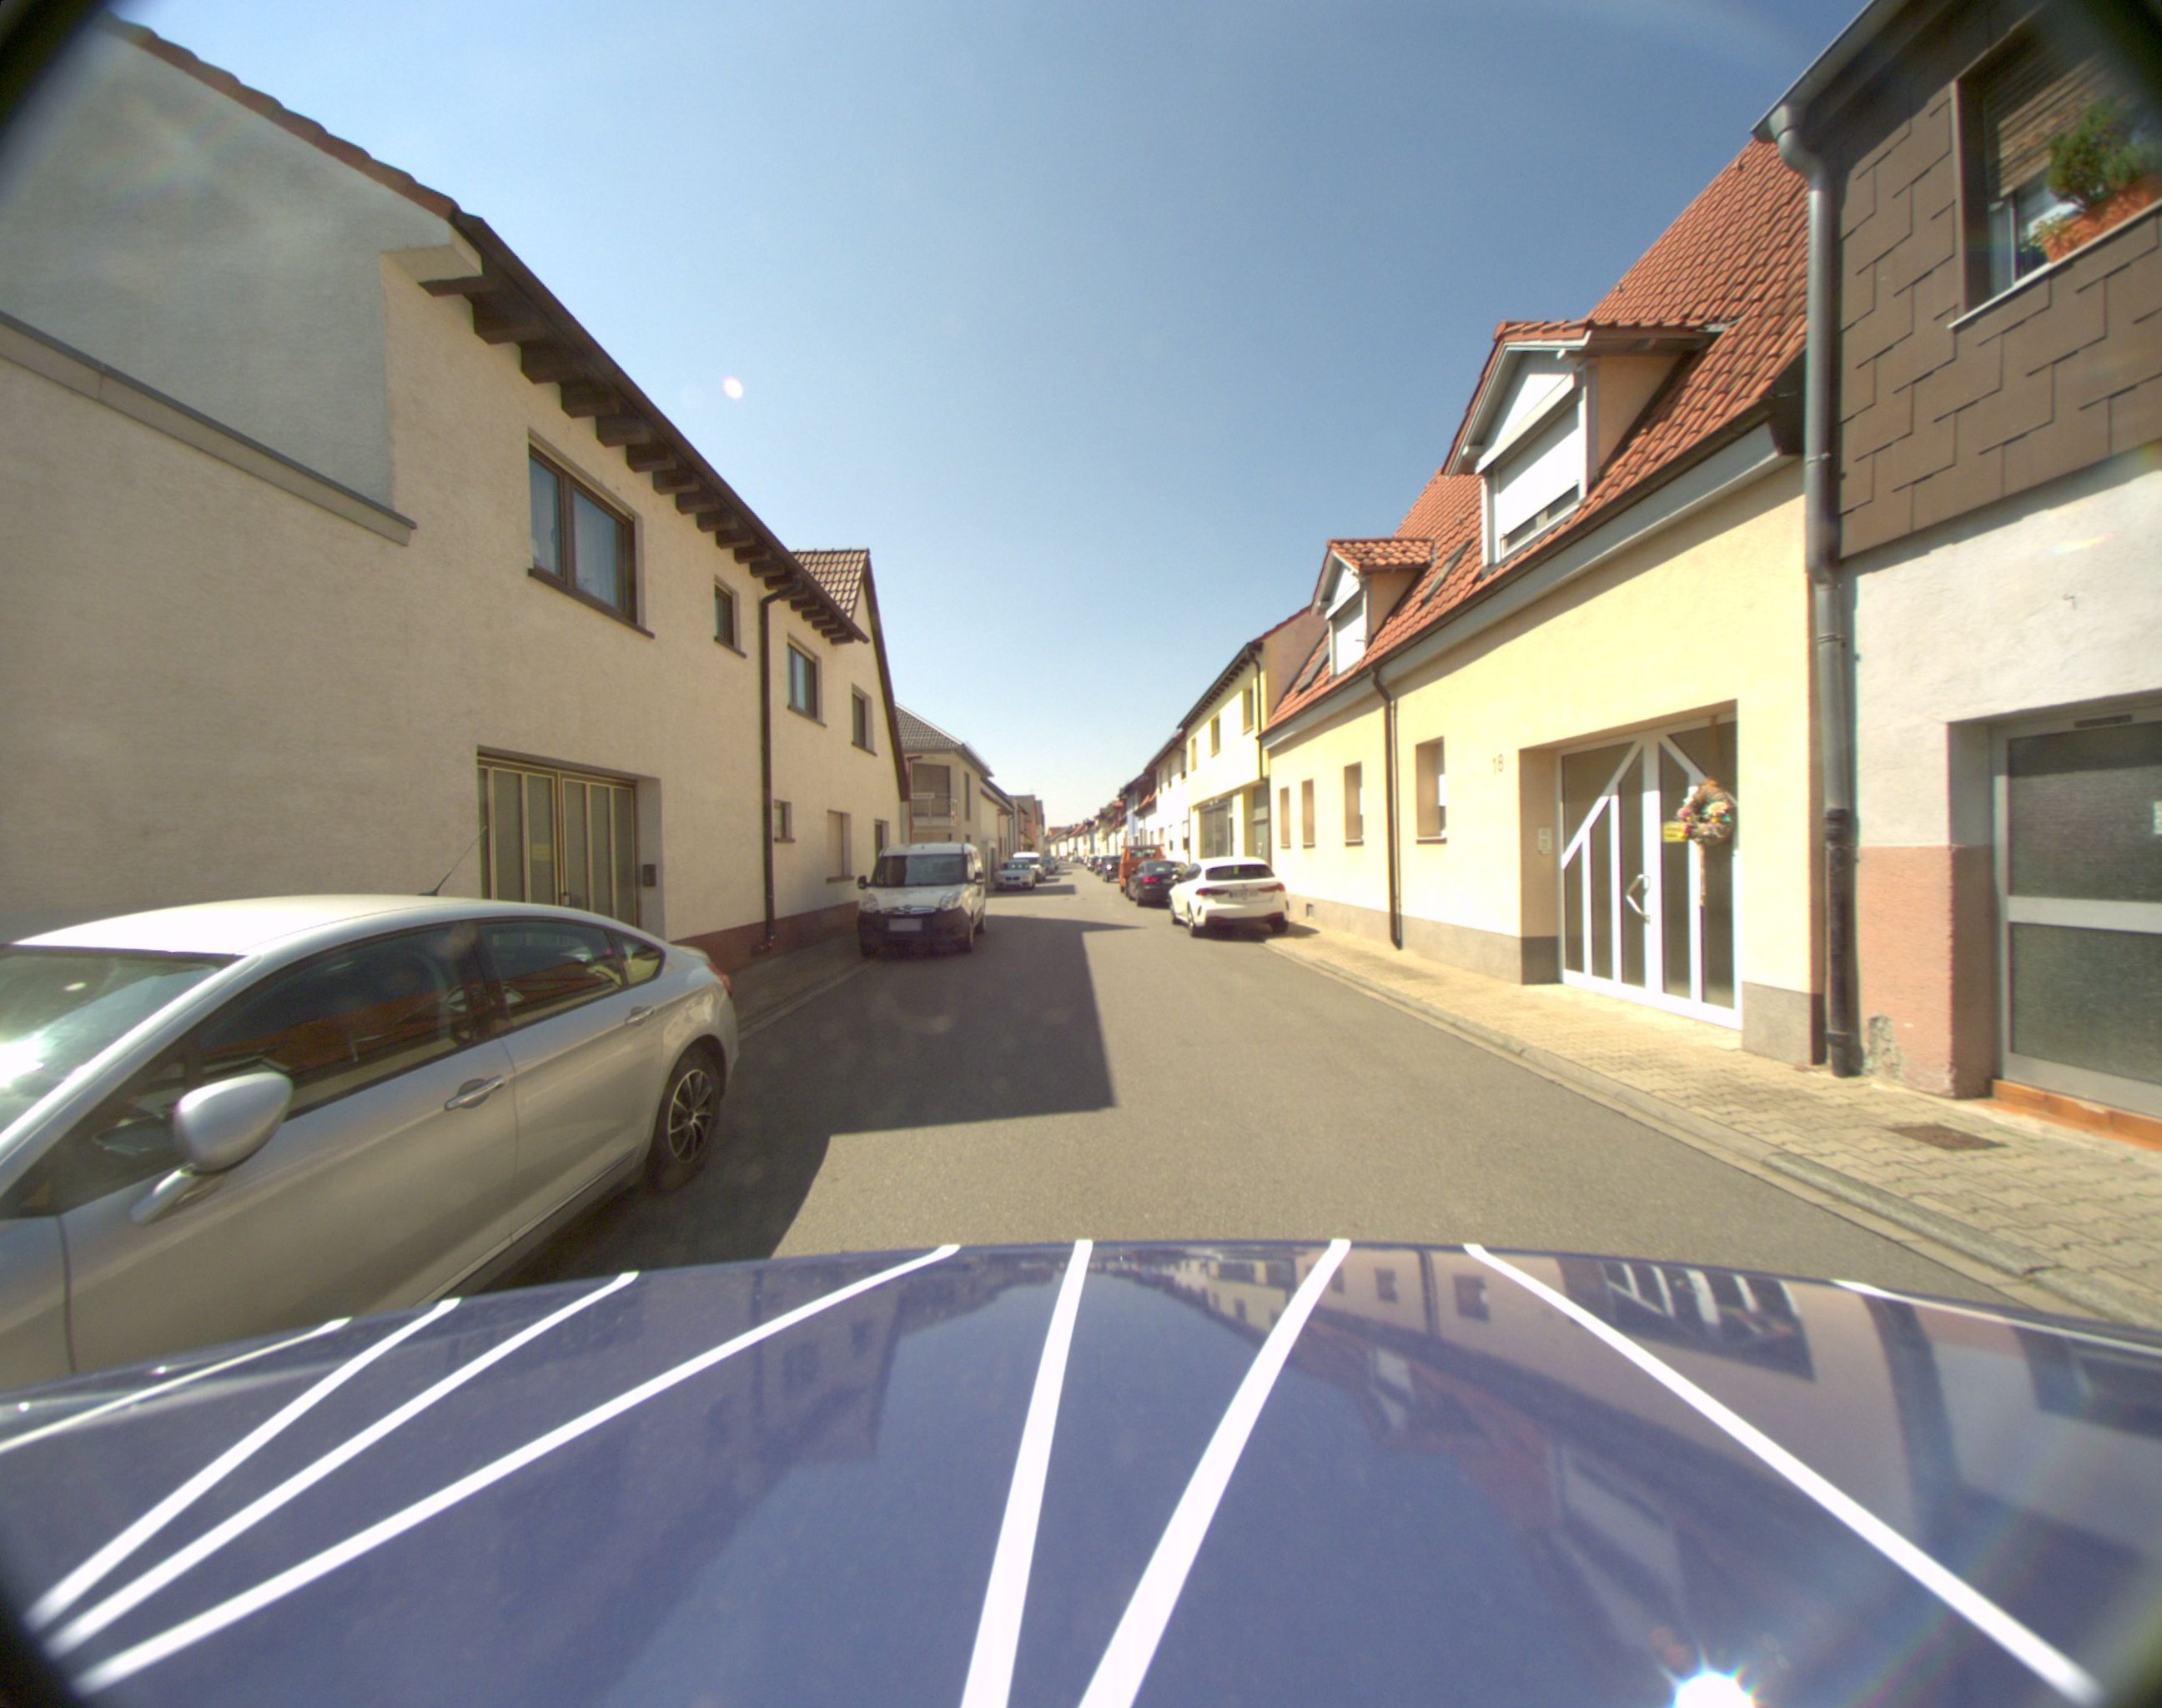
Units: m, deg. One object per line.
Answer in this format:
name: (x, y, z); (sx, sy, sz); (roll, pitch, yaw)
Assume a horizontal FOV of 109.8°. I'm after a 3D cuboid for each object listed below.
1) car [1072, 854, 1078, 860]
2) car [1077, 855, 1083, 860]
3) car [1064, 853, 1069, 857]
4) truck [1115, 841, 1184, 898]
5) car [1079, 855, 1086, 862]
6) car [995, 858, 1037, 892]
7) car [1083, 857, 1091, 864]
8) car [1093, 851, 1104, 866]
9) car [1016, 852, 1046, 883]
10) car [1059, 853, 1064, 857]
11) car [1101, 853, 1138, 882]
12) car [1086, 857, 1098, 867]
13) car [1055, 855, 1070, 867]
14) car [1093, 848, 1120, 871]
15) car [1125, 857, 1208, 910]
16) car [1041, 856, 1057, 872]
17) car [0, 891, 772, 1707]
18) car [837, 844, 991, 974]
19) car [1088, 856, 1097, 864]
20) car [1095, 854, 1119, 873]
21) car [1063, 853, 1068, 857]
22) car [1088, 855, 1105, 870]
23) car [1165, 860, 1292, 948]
car: (-1.473, 0.711, 180.694); (1.295, 1.177, 2.963); (-1, 0, -1)
car: (-0.311, 0.790, 163.795); (1.295, 1.177, 2.963); (-1, 0, -1)
car: (-4.052, 0.370, 212.144); (1.295, 1.177, 2.963); (-1, 0, -1)
truck: (2.559, 0.537, 29.533); (2.188, 2.002, 5.079); (-1, 1, 0)
car: (0.212, 0.818, 141.281); (1.295, 1.177, 2.963); (-1, 0, -1)
car: (-3.057, 0.965, 36.162); (1.638, 1.360, 3.927); (-3, 1, -1)
car: (0.927, 1.073, 126.154); (1.295, 1.177, 2.963); (-1, 0, -1)
car: (2.108, 0.519, 93.050); (1.295, 1.820, 2.963); (-1, 0, -1)
car: (-2.961, 0.775, 45.507); (1.684, 1.719, 3.786); (-1, 0, -2)
car: (-5.974, 0.235, 232.196); (1.295, 1.177, 2.963); (-1, 0, -1)
car: (2.196, 0.779, 44.717); (1.849, 1.604, 3.999); (-1, 0, -2)
car: (1.230, 0.891, 85.565); (1.295, 1.070, 2.764); (-1, 0, -1)
car: (-2.373, 0.880, 96.902); (1.849, 1.523, 3.548); (-1, 0, -2)
car: (2.307, 0.481, 70.173); (1.999, 2.002, 3.997); (-1, 2, -4)
car: (2.561, 0.856, 23.951); (1.927, 1.386, 4.630); (2, 1, -2)
car: (-3.051, 0.918, 72.622); (1.522, 1.417, 3.863); (-1, 0, -2)
car: (-2.755, 0.997, 2.151); (1.795, 1.473, 4.932); (1, 1, -1)
car: (-2.728, 0.778, 13.570); (1.815, 1.814, 4.848); (-3, 1, -3)
car: (1.768, 0.950, 115.124); (1.295, 1.177, 2.963); (-1, 0, -1)
car: (2.058, 0.758, 62.021); (1.724, 1.493, 4.214); (-1, 0, -1)
car: (-4.412, 0.274, 220.615); (1.295, 1.177, 2.963); (-1, 0, -1)
car: (1.576, 0.857, 78.609); (1.677, 1.565, 4.108); (-1, 0, -1)
car: (2.822, 0.895, 15.456); (1.787, 1.445, 4.215); (-1, 1, 0)
